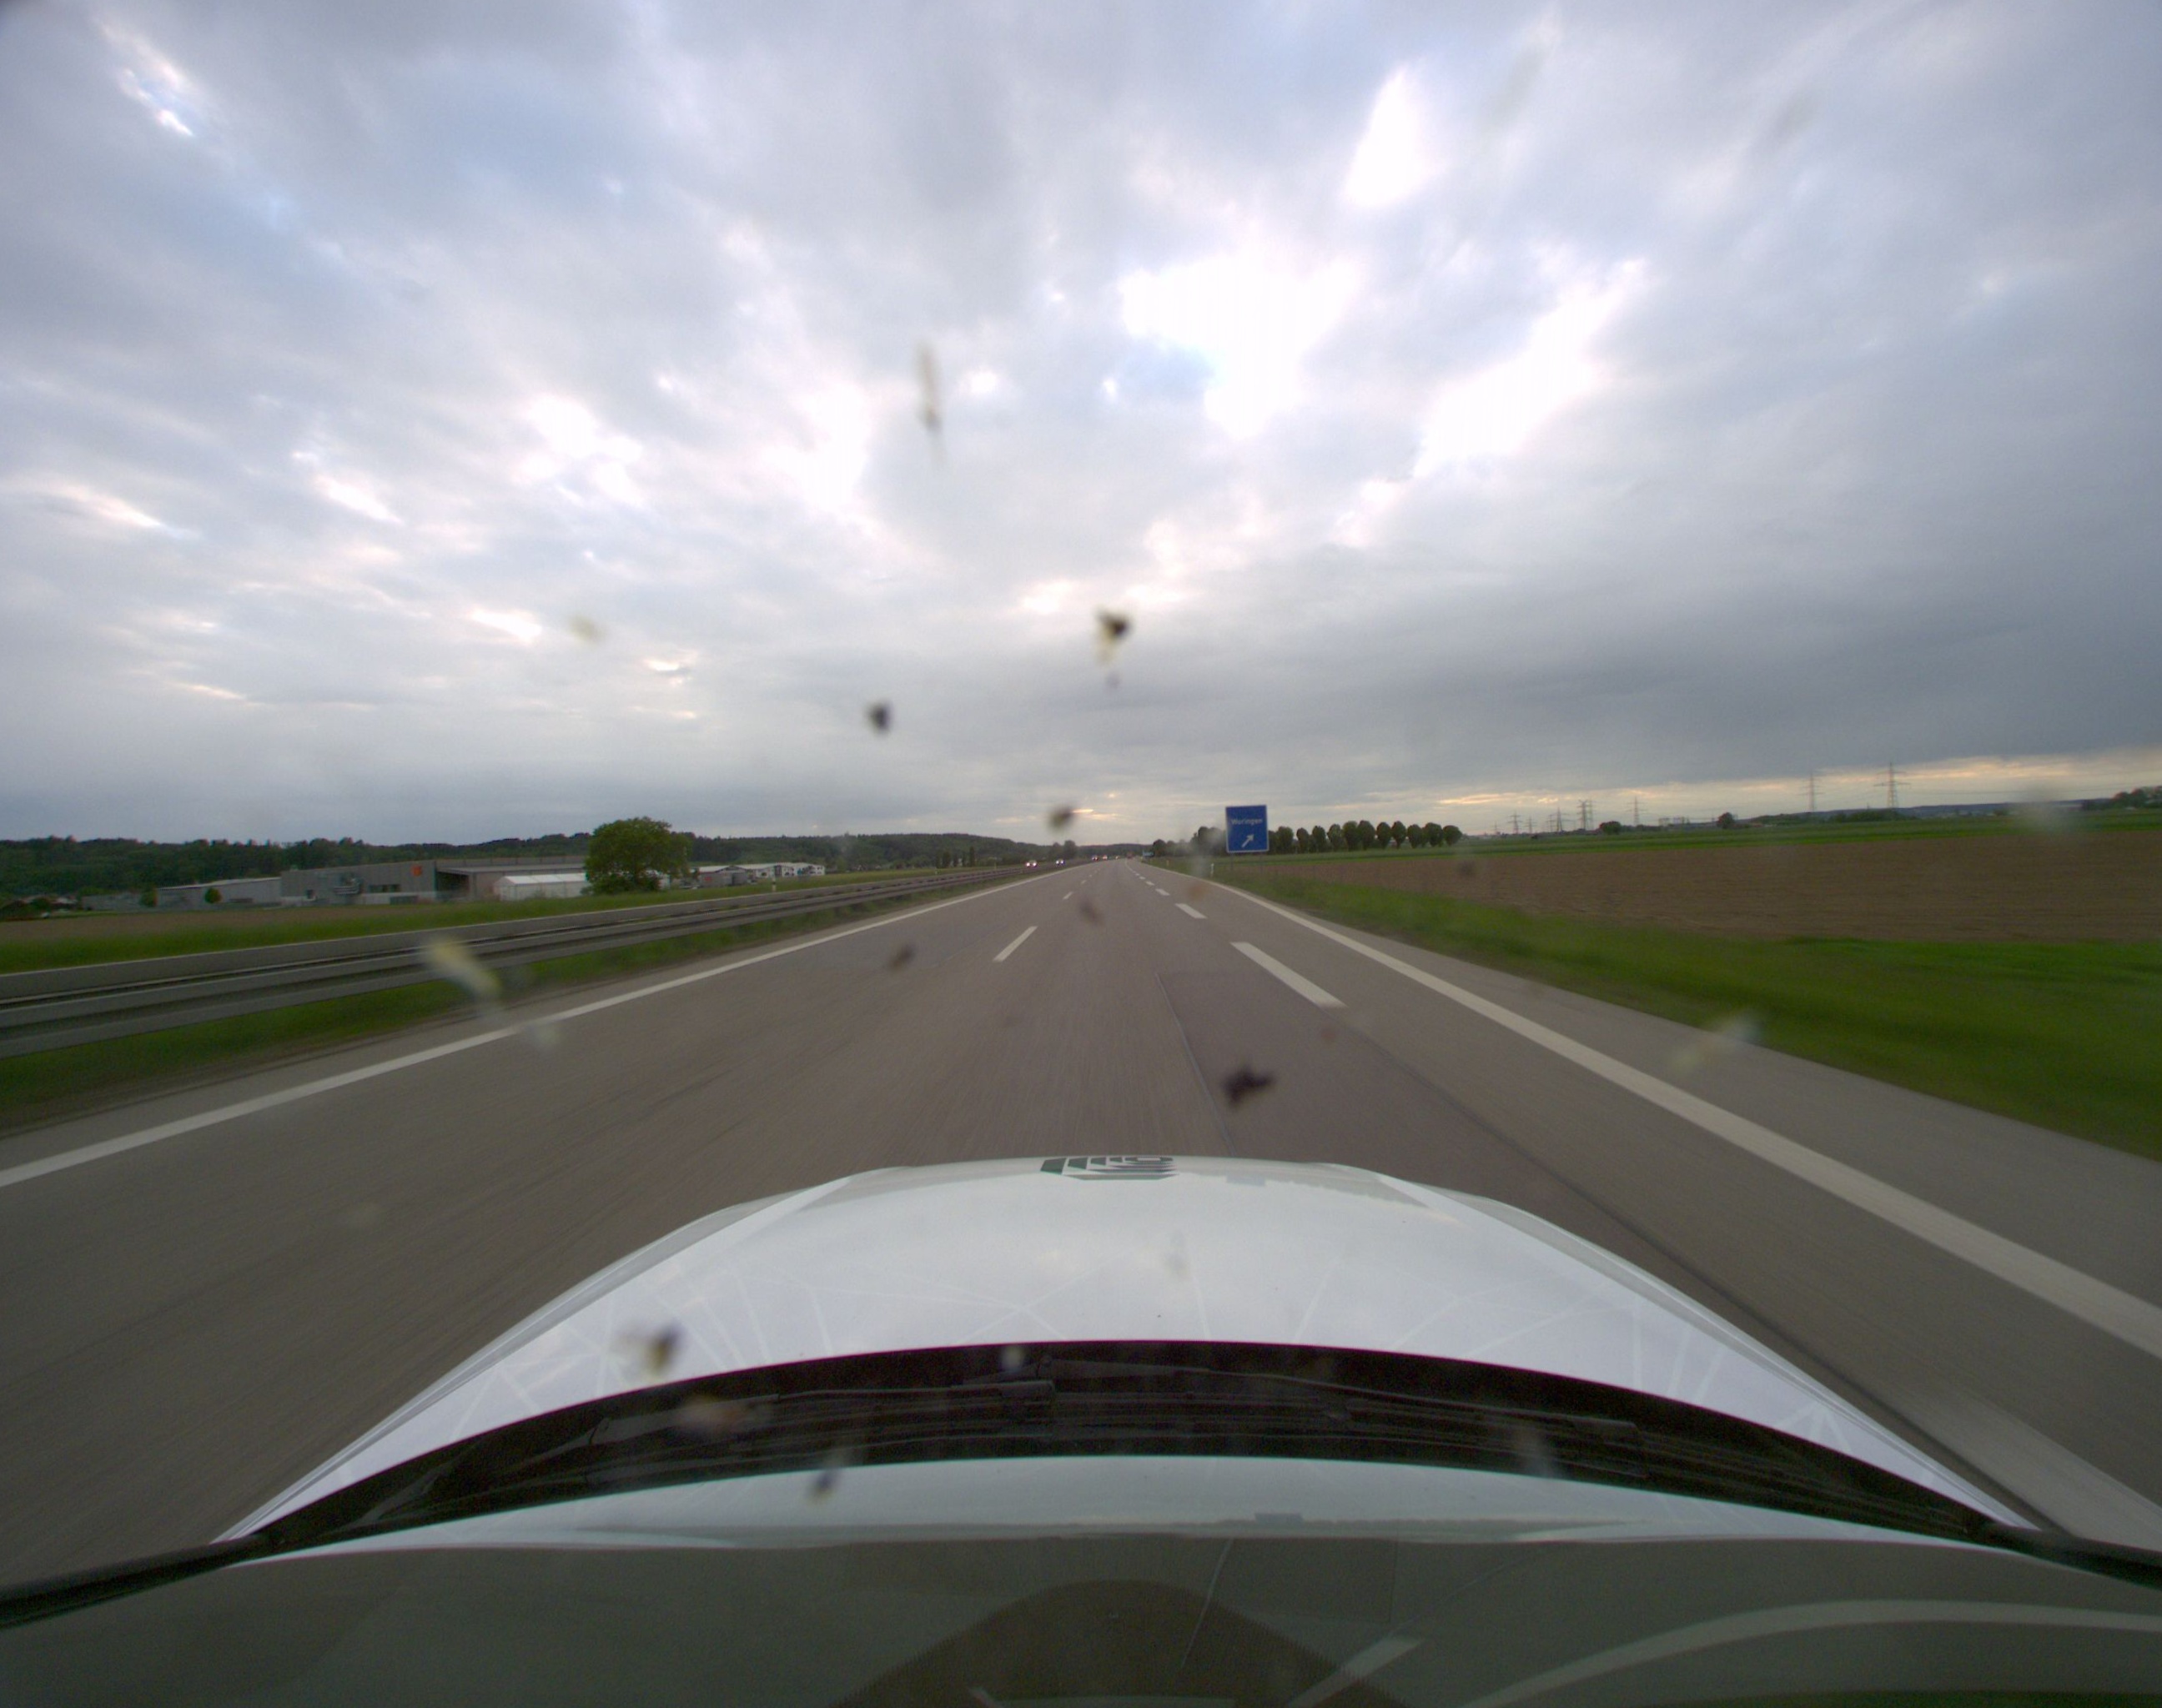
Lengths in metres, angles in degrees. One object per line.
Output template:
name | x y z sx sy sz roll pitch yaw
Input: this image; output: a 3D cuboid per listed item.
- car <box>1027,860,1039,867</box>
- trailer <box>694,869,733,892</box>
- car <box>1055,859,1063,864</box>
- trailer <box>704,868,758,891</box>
car | -9.904 1.906 166.985 1.986 1.480 4.454 -1 0 2
trailer | -93.684 6.705 207.568 9.951 5.261 3.778 -4 -2 31
car | -6.418 2.260 237.441 1.985 1.416 4.526 -1 0 2
trailer | -90.862 6.540 211.020 16.814 5.135 3.592 -4 -2 31
